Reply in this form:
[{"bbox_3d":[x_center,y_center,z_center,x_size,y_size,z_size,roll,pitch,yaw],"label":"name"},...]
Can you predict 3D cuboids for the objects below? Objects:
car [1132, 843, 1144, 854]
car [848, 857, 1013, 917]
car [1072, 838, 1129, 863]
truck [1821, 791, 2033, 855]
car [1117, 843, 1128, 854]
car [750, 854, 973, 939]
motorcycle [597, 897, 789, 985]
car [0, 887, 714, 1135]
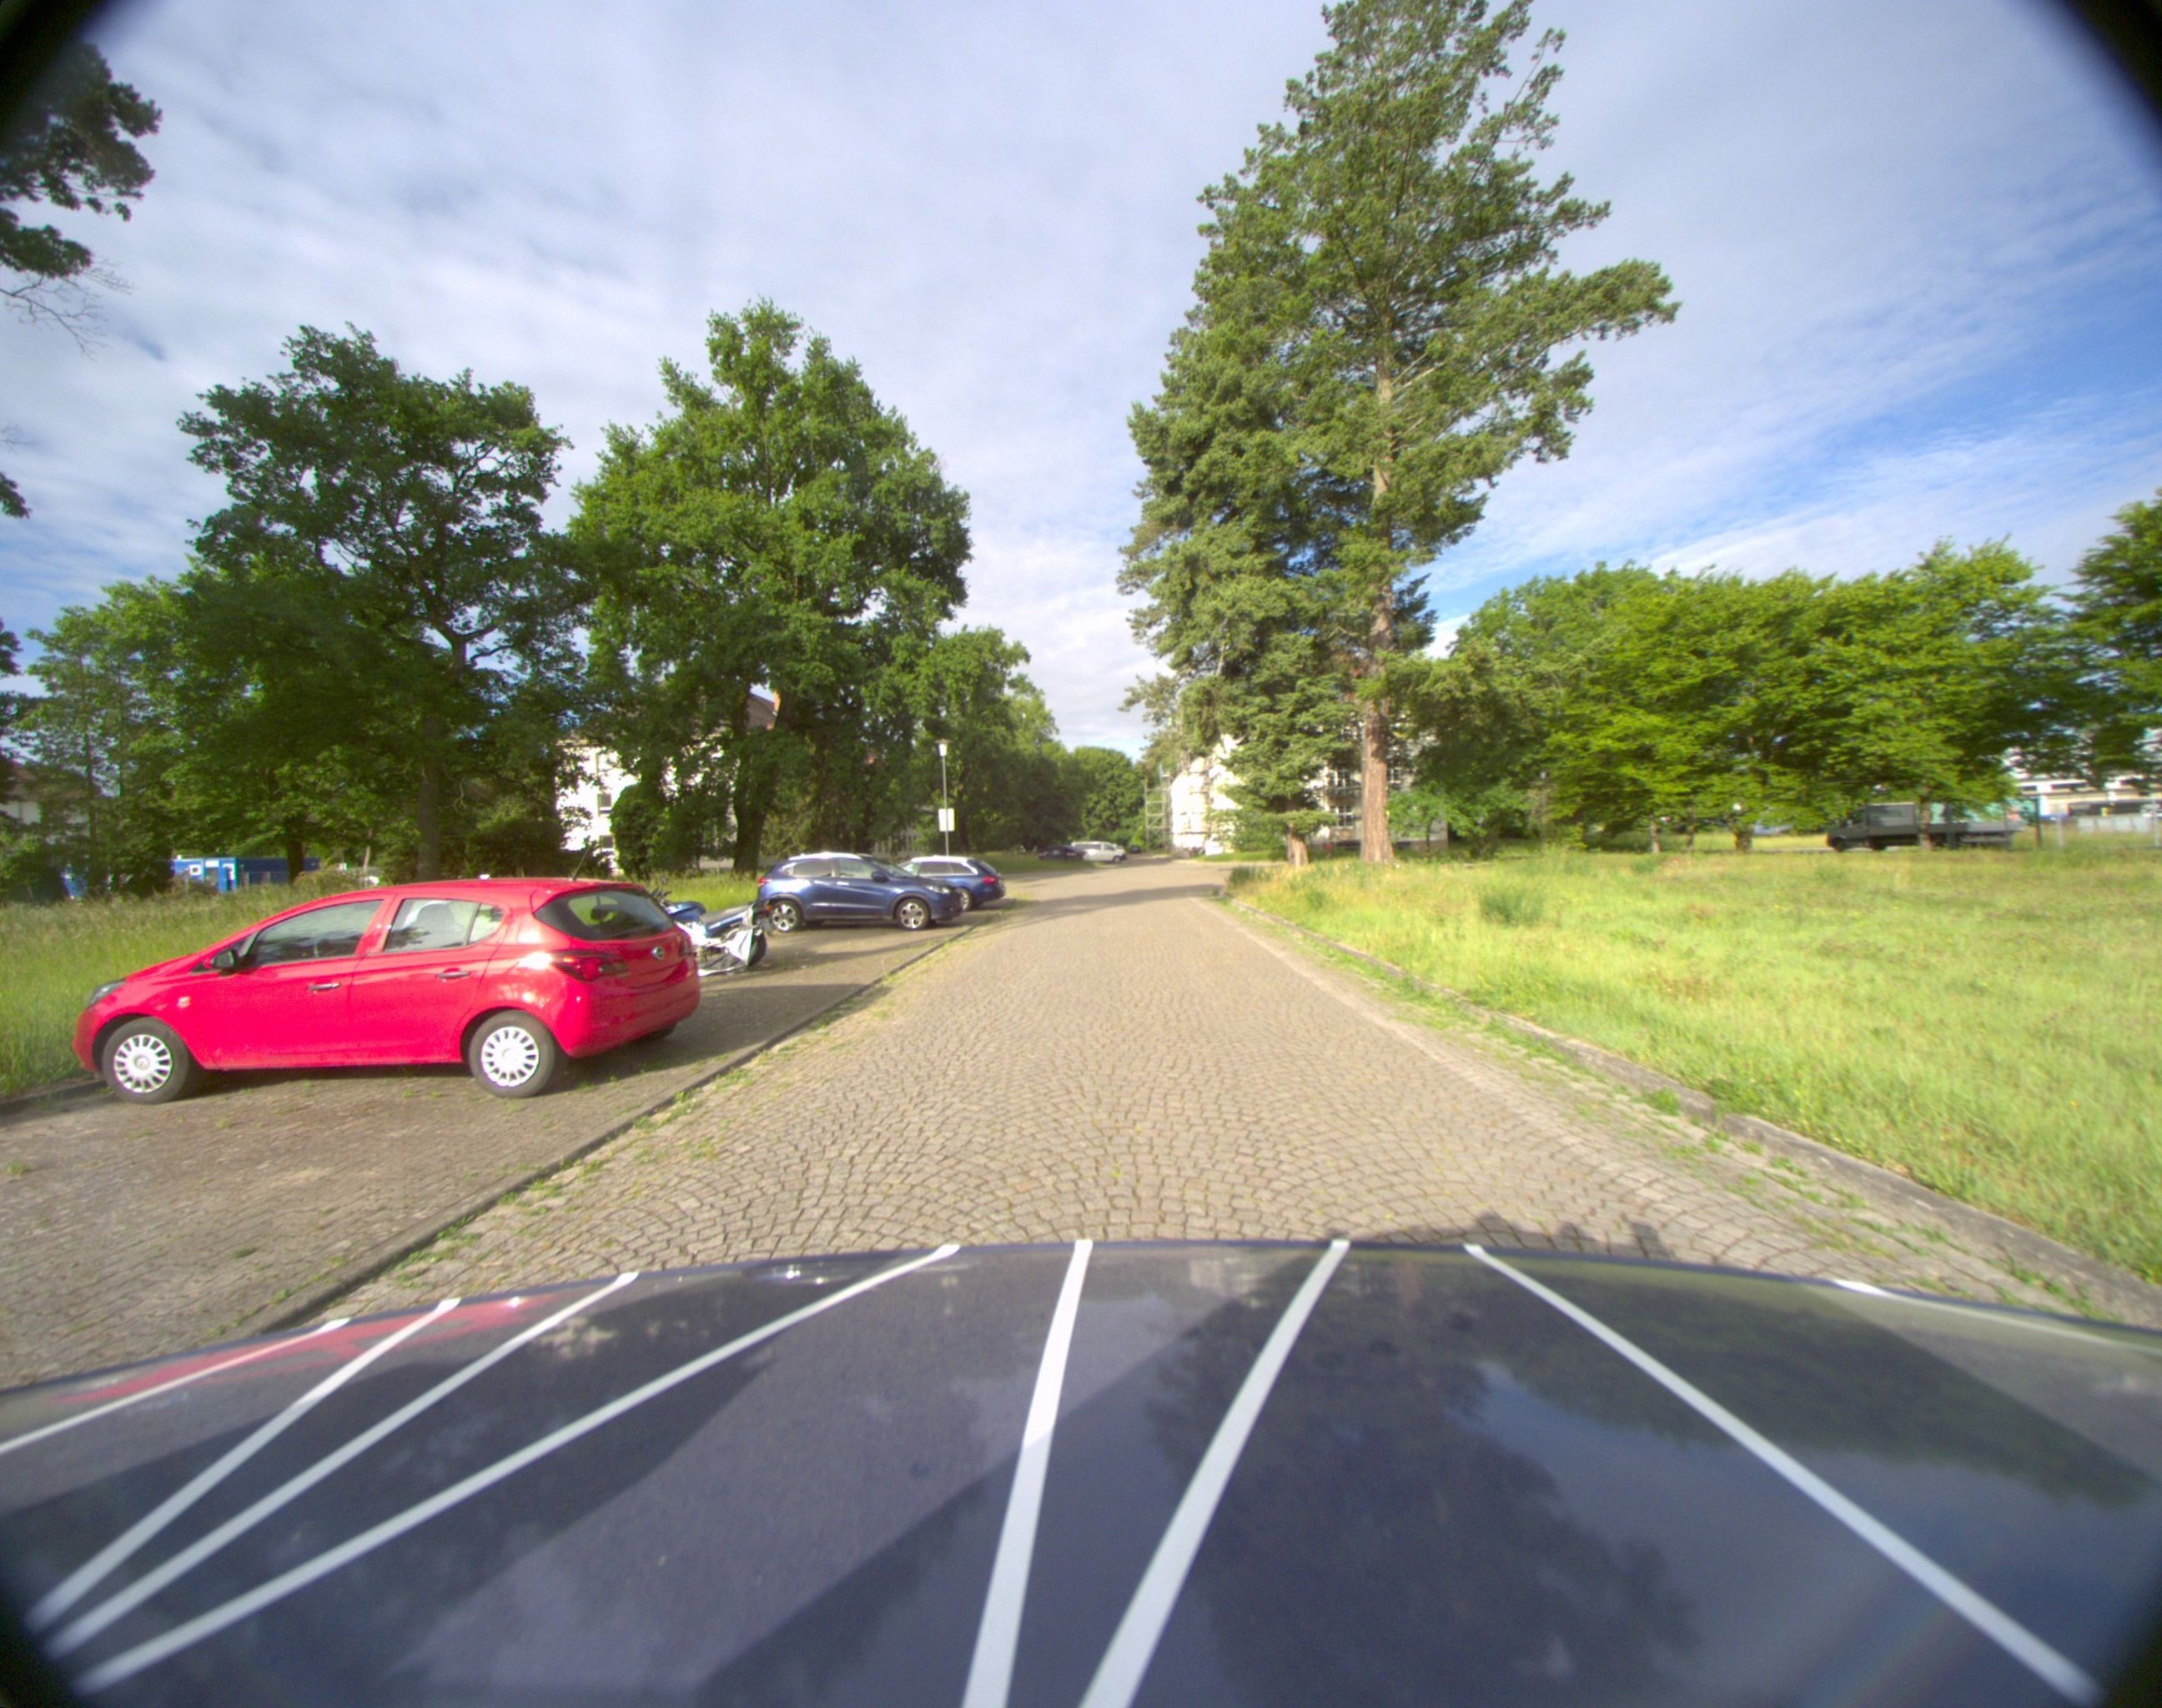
[{"bbox_3d":[10.182,-1.017,135.516,1.998,1.762,4.108,-2,2,3],"label":"car"},{"bbox_3d":[-4.025,0.882,20.750,4.034,1.442,1.783,-1,2,5],"label":"car"},{"bbox_3d":[1.813,-0.331,69.488,5.078,2.029,2.000,-2,1,2],"label":"car"},{"bbox_3d":[38.497,-1.340,35.033,2.417,2.572,6.960,-2,1,5],"label":"truck"},{"bbox_3d":[7.446,-0.967,135.410,1.874,1.888,3.999,-2,2,3],"label":"car"},{"bbox_3d":[-4.527,0.859,16.067,4.135,1.560,1.746,-1,2,2],"label":"car"},{"bbox_3d":[-5.266,1.176,10.366,2.306,1.107,0.607,-1,2,4],"label":"motorcycle"},{"bbox_3d":[-5.180,1.076,5.802,3.886,1.464,1.686,-1,2,1],"label":"car"}]
